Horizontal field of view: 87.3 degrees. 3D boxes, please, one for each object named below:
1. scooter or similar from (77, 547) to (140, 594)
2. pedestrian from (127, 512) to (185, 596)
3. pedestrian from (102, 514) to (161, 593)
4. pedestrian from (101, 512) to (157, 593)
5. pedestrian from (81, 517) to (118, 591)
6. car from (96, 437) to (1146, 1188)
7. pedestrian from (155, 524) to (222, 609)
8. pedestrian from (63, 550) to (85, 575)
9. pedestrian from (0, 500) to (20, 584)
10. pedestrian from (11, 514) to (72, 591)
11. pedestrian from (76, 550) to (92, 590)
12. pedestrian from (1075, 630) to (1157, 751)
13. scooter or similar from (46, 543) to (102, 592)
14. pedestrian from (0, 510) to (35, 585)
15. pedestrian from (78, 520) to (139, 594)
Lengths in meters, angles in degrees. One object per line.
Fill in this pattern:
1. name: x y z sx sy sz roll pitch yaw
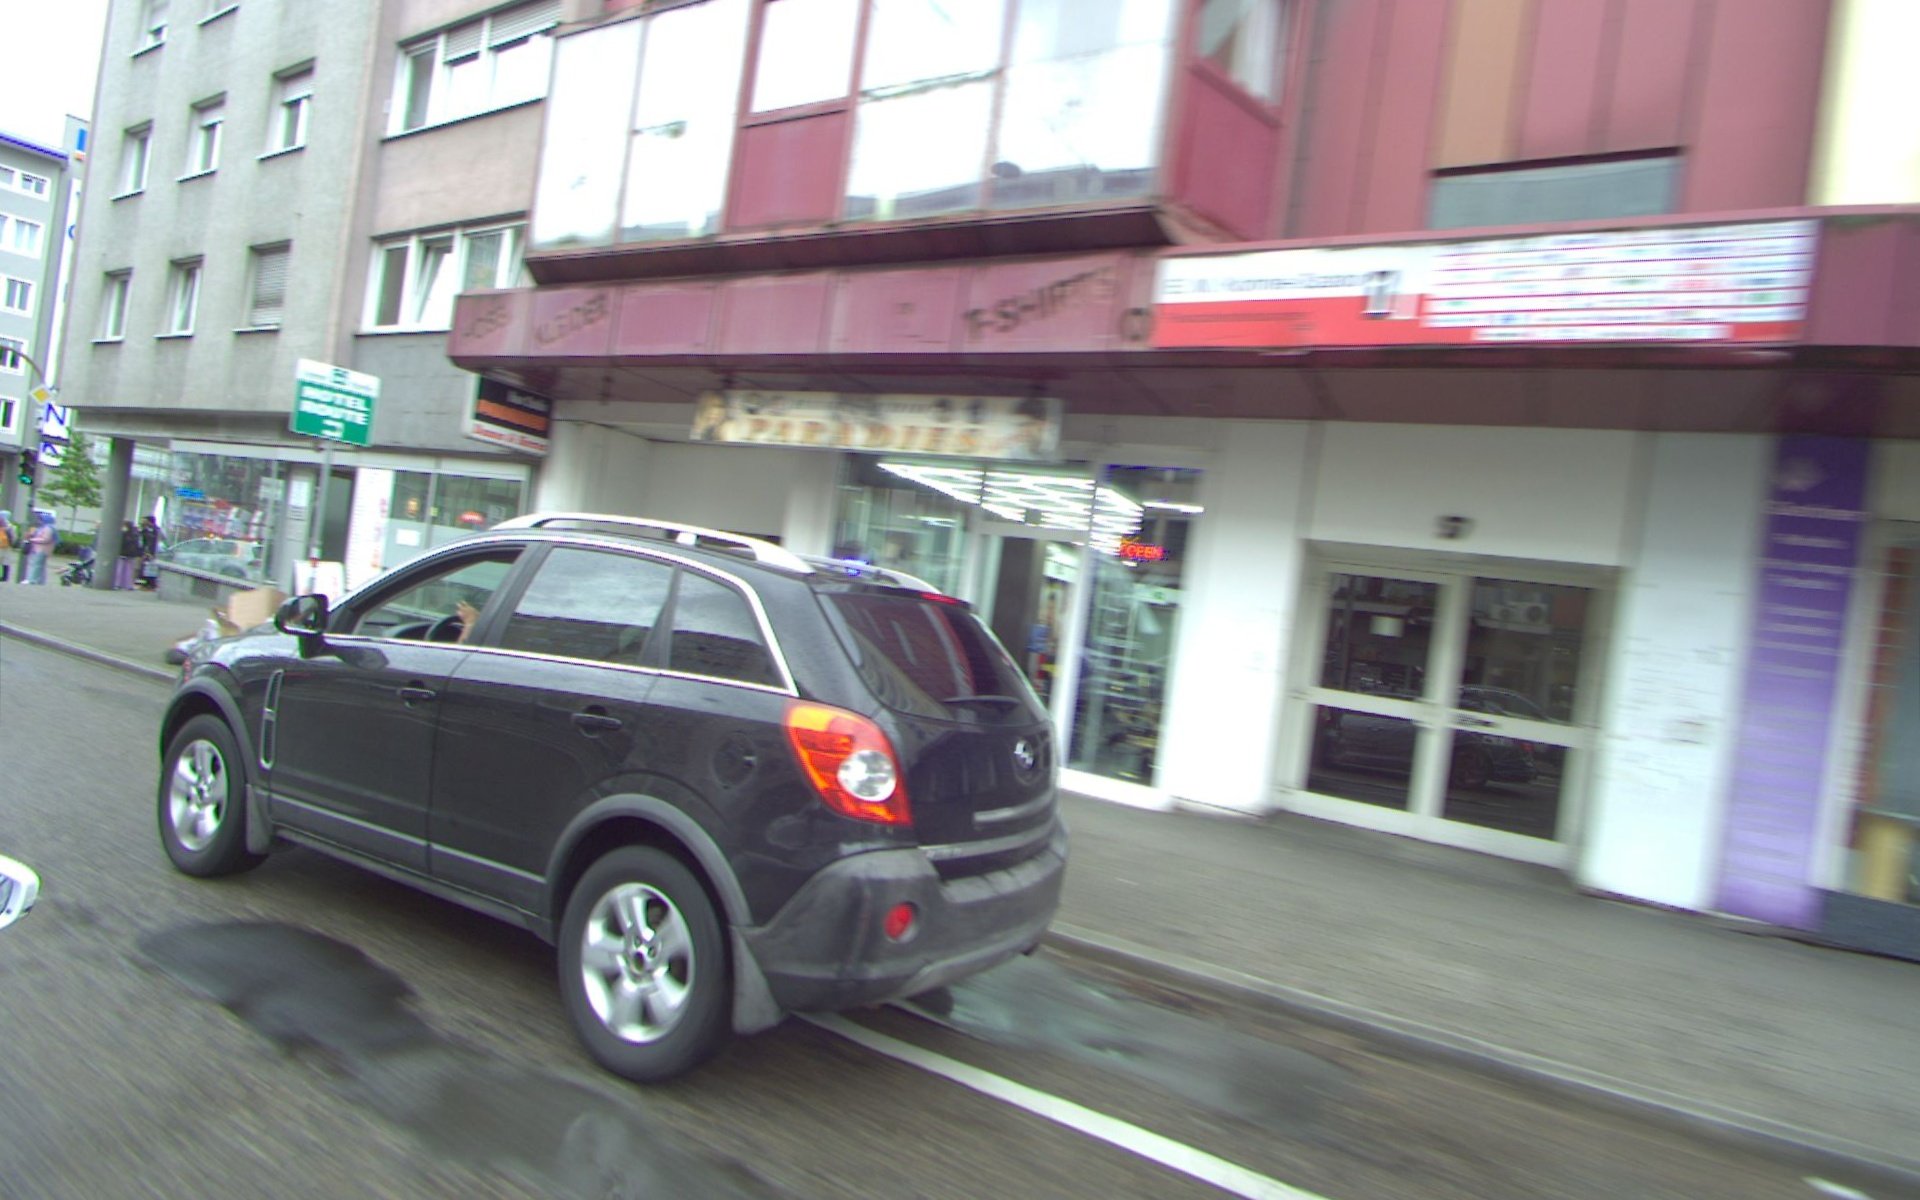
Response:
1. scooter or similar: -20.281 -0.698 23.962 1.031 0.997 0.771 3 -2 30
2. pedestrian: -19.747 -1.125 24.720 0.721 1.954 0.817 5 -1 38
3. pedestrian: -19.455 -1.085 23.635 0.609 1.742 0.835 3 -2 38
4. pedestrian: -20.544 -1.158 24.864 0.648 1.888 0.835 3 -1 34
5. pedestrian: -22.960 -1.205 26.848 0.613 1.889 0.778 4 -2 -44
6. car: -1.602 0.469 4.486 4.227 1.807 1.911 8 0 28
7. pedestrian: -18.766 -0.808 24.483 0.822 1.886 0.667 8 -2 10
8. pedestrian: -22.430 -0.942 25.472 0.369 0.578 0.453 6 0 -40
9. pedestrian: -20.150 -1.230 20.855 0.620 1.712 0.778 6 -1 -24
10. pedestrian: -21.063 -1.082 23.082 0.734 1.654 0.594 4 -2 -18
11. pedestrian: -22.641 -0.776 26.004 0.259 1.013 0.467 3 2 -37
12. pedestrian: 2.034 1.164 13.075 0.692 1.446 0.710 7 0 30
13. scooter or similar: -22.415 -0.813 25.461 0.966 1.122 0.648 6 0 -41
14. pedestrian: -21.815 -1.194 23.132 0.824 1.658 0.539 3 0 30
15. pedestrian: -21.907 -1.103 25.872 1.032 1.743 0.828 7 0 -43
